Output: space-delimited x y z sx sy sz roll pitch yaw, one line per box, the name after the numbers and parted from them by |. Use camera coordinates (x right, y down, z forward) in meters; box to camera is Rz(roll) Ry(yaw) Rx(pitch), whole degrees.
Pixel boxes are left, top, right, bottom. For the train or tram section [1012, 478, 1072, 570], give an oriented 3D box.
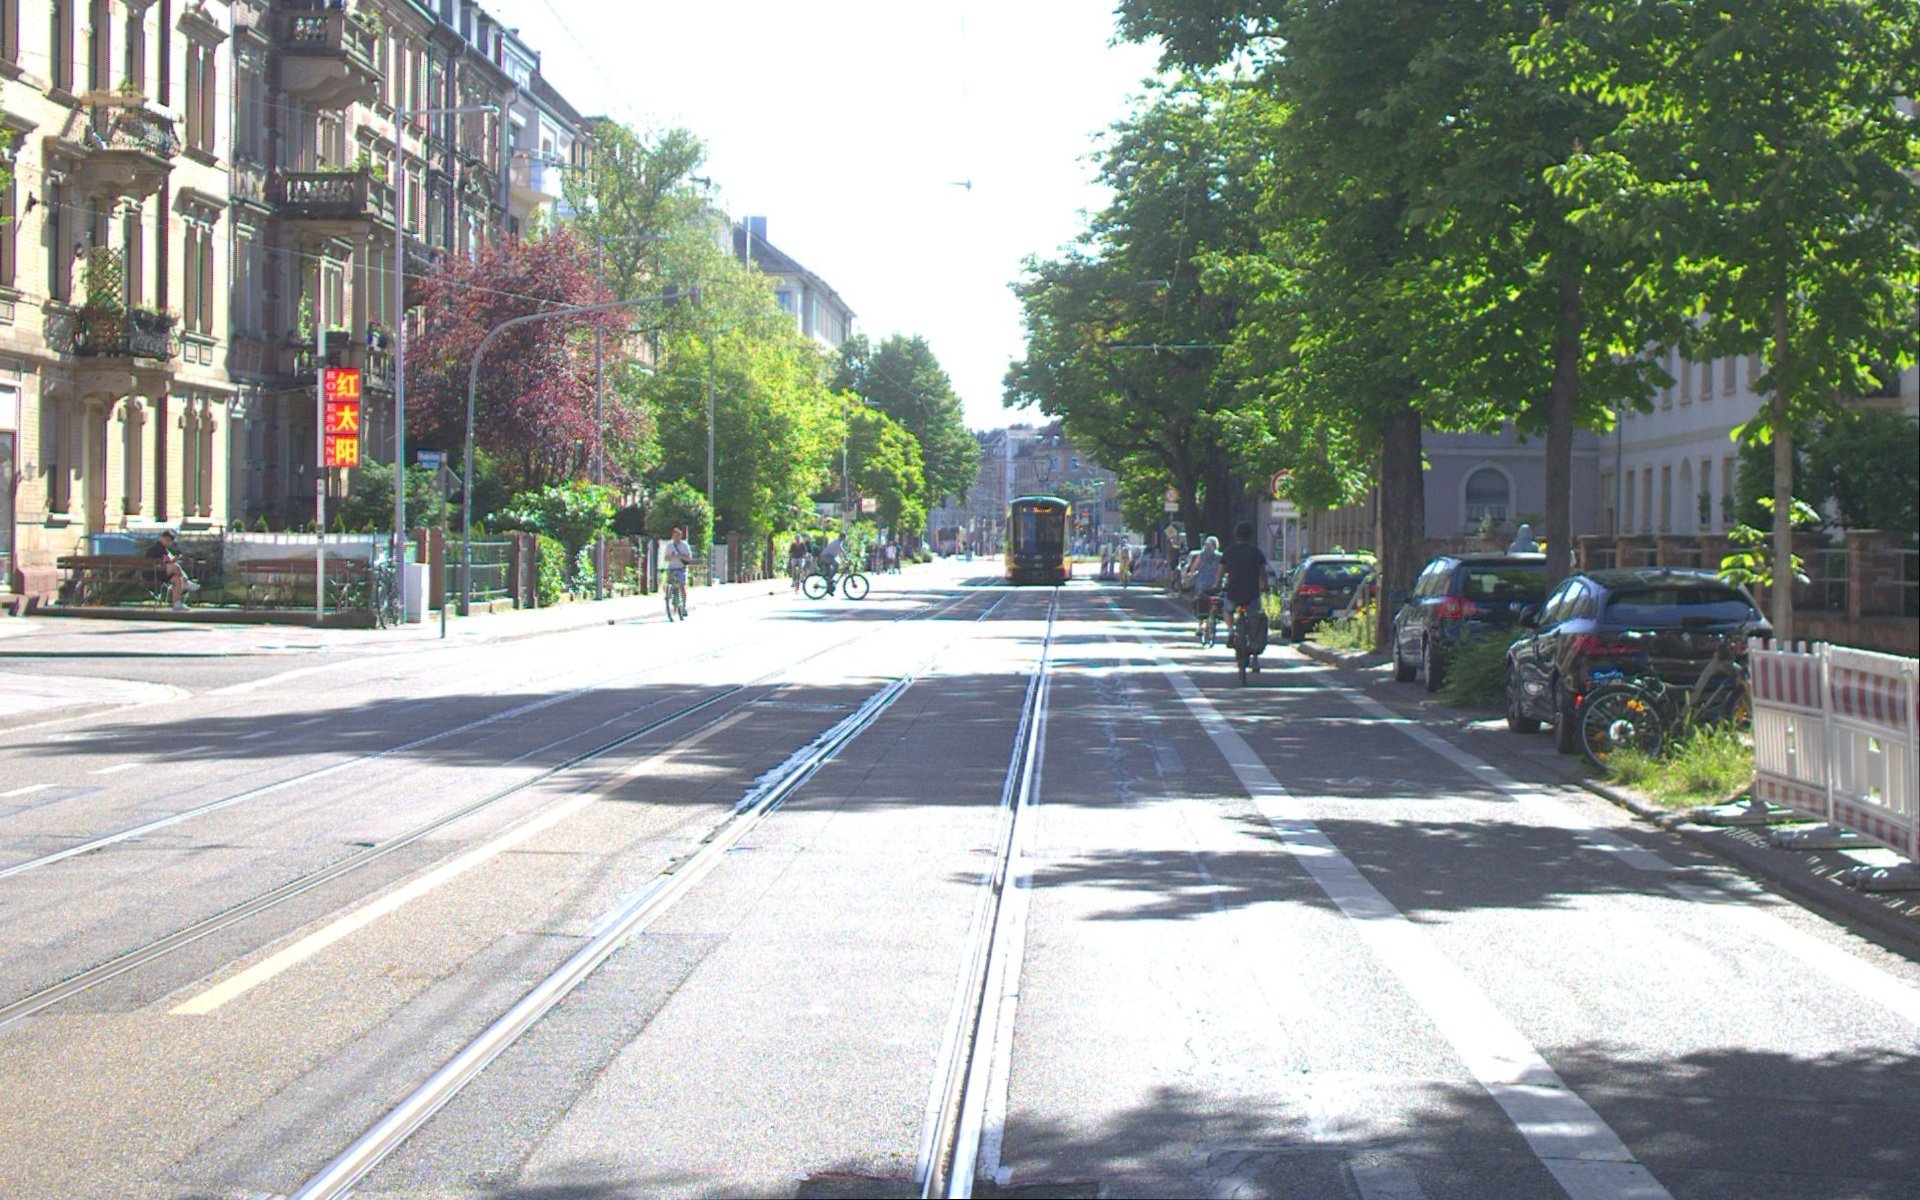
3.225 -2.982 134.892 2.153 3.420 6.611 2 1 1 | train or tram section

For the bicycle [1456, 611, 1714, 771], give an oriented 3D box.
4.543 0.656 25.041 1.761 1.074 0.433 2 1 3 | bicycle

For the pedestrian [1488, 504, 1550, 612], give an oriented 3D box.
9.027 -0.679 55.480 0.764 1.718 0.579 3 1 31 | pedestrian

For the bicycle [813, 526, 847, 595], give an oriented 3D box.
-3.568 -1.103 94.320 0.663 1.853 2.259 2 1 3 | bicycle

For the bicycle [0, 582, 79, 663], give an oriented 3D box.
-10.921 0.255 39.713 1.290 0.911 0.621 1 -1 -34 | bicycle

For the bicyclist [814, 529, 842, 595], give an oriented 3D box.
-3.610 -1.053 94.334 0.645 1.789 0.956 2 1 1 | bicyclist

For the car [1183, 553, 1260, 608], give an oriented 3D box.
7.134 -0.563 94.054 1.628 1.431 4.665 0 1 -1 | car

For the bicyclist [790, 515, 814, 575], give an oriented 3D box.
-4.762 -1.667 103.652 0.660 1.795 0.616 -1 0 2 | bicyclist

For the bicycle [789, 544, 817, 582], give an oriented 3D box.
-4.745 -1.123 103.897 0.692 1.108 1.718 0 1 2 | bicycle

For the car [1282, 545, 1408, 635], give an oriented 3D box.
6.506 -0.199 58.476 1.787 1.459 4.044 0 1 2 | car

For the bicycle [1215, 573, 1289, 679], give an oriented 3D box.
3.276 0.280 38.654 0.692 1.108 1.718 2 1 2 | bicycle

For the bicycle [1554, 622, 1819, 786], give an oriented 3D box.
5.178 0.736 24.542 1.761 1.074 0.433 2 1 3 | bicycle

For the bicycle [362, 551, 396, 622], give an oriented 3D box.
-9.528 -0.225 56.380 0.371 1.122 0.809 2 1 2 | bicycle

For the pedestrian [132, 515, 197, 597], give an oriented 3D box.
-13.199 -0.734 57.082 0.901 1.348 0.577 -1 1 3 | pedestrian

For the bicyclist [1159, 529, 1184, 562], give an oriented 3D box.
8.343 -2.140 135.620 0.773 1.287 0.732 3 1 18 | bicyclist

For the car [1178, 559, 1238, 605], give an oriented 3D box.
8.116 -0.605 112.815 1.748 1.415 4.000 0 1 1 | car

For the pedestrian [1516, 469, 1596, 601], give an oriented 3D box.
8.152 -0.887 47.040 0.599 1.765 0.913 -3 1 -28 | pedestrian

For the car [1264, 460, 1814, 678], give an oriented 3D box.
4.892 -0.274 29.603 4.446 1.638 1.966 2 1 5 | car

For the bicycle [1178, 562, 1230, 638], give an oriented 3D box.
3.743 -0.006 52.856 0.692 1.108 1.917 2 1 2 | bicycle

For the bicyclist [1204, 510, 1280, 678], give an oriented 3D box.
3.166 -0.077 38.691 0.727 1.842 0.837 2 1 1 | bicyclist

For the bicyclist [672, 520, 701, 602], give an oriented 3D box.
-5.431 -0.783 68.307 0.464 1.613 0.744 -1 1 2 | bicyclist

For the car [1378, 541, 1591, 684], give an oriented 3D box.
5.729 0.093 37.999 1.720 1.468 4.246 0 1 0 | car

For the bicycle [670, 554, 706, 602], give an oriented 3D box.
-5.413 -0.437 68.371 0.460 0.922 2.203 -1 1 2 | bicycle

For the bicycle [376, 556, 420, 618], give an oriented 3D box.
-9.340 -0.228 57.211 0.335 0.997 1.870 2 1 2 | bicycle

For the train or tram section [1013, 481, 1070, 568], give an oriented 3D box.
3.369 -3.119 141.539 2.153 3.420 6.611 2 1 1 | train or tram section

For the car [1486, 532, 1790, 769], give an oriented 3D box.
5.427 0.339 27.997 1.665 1.755 4.231 1 1 1 | car

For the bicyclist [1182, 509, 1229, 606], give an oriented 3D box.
3.769 -0.657 52.776 0.635 1.463 0.616 2 1 2 | bicyclist
